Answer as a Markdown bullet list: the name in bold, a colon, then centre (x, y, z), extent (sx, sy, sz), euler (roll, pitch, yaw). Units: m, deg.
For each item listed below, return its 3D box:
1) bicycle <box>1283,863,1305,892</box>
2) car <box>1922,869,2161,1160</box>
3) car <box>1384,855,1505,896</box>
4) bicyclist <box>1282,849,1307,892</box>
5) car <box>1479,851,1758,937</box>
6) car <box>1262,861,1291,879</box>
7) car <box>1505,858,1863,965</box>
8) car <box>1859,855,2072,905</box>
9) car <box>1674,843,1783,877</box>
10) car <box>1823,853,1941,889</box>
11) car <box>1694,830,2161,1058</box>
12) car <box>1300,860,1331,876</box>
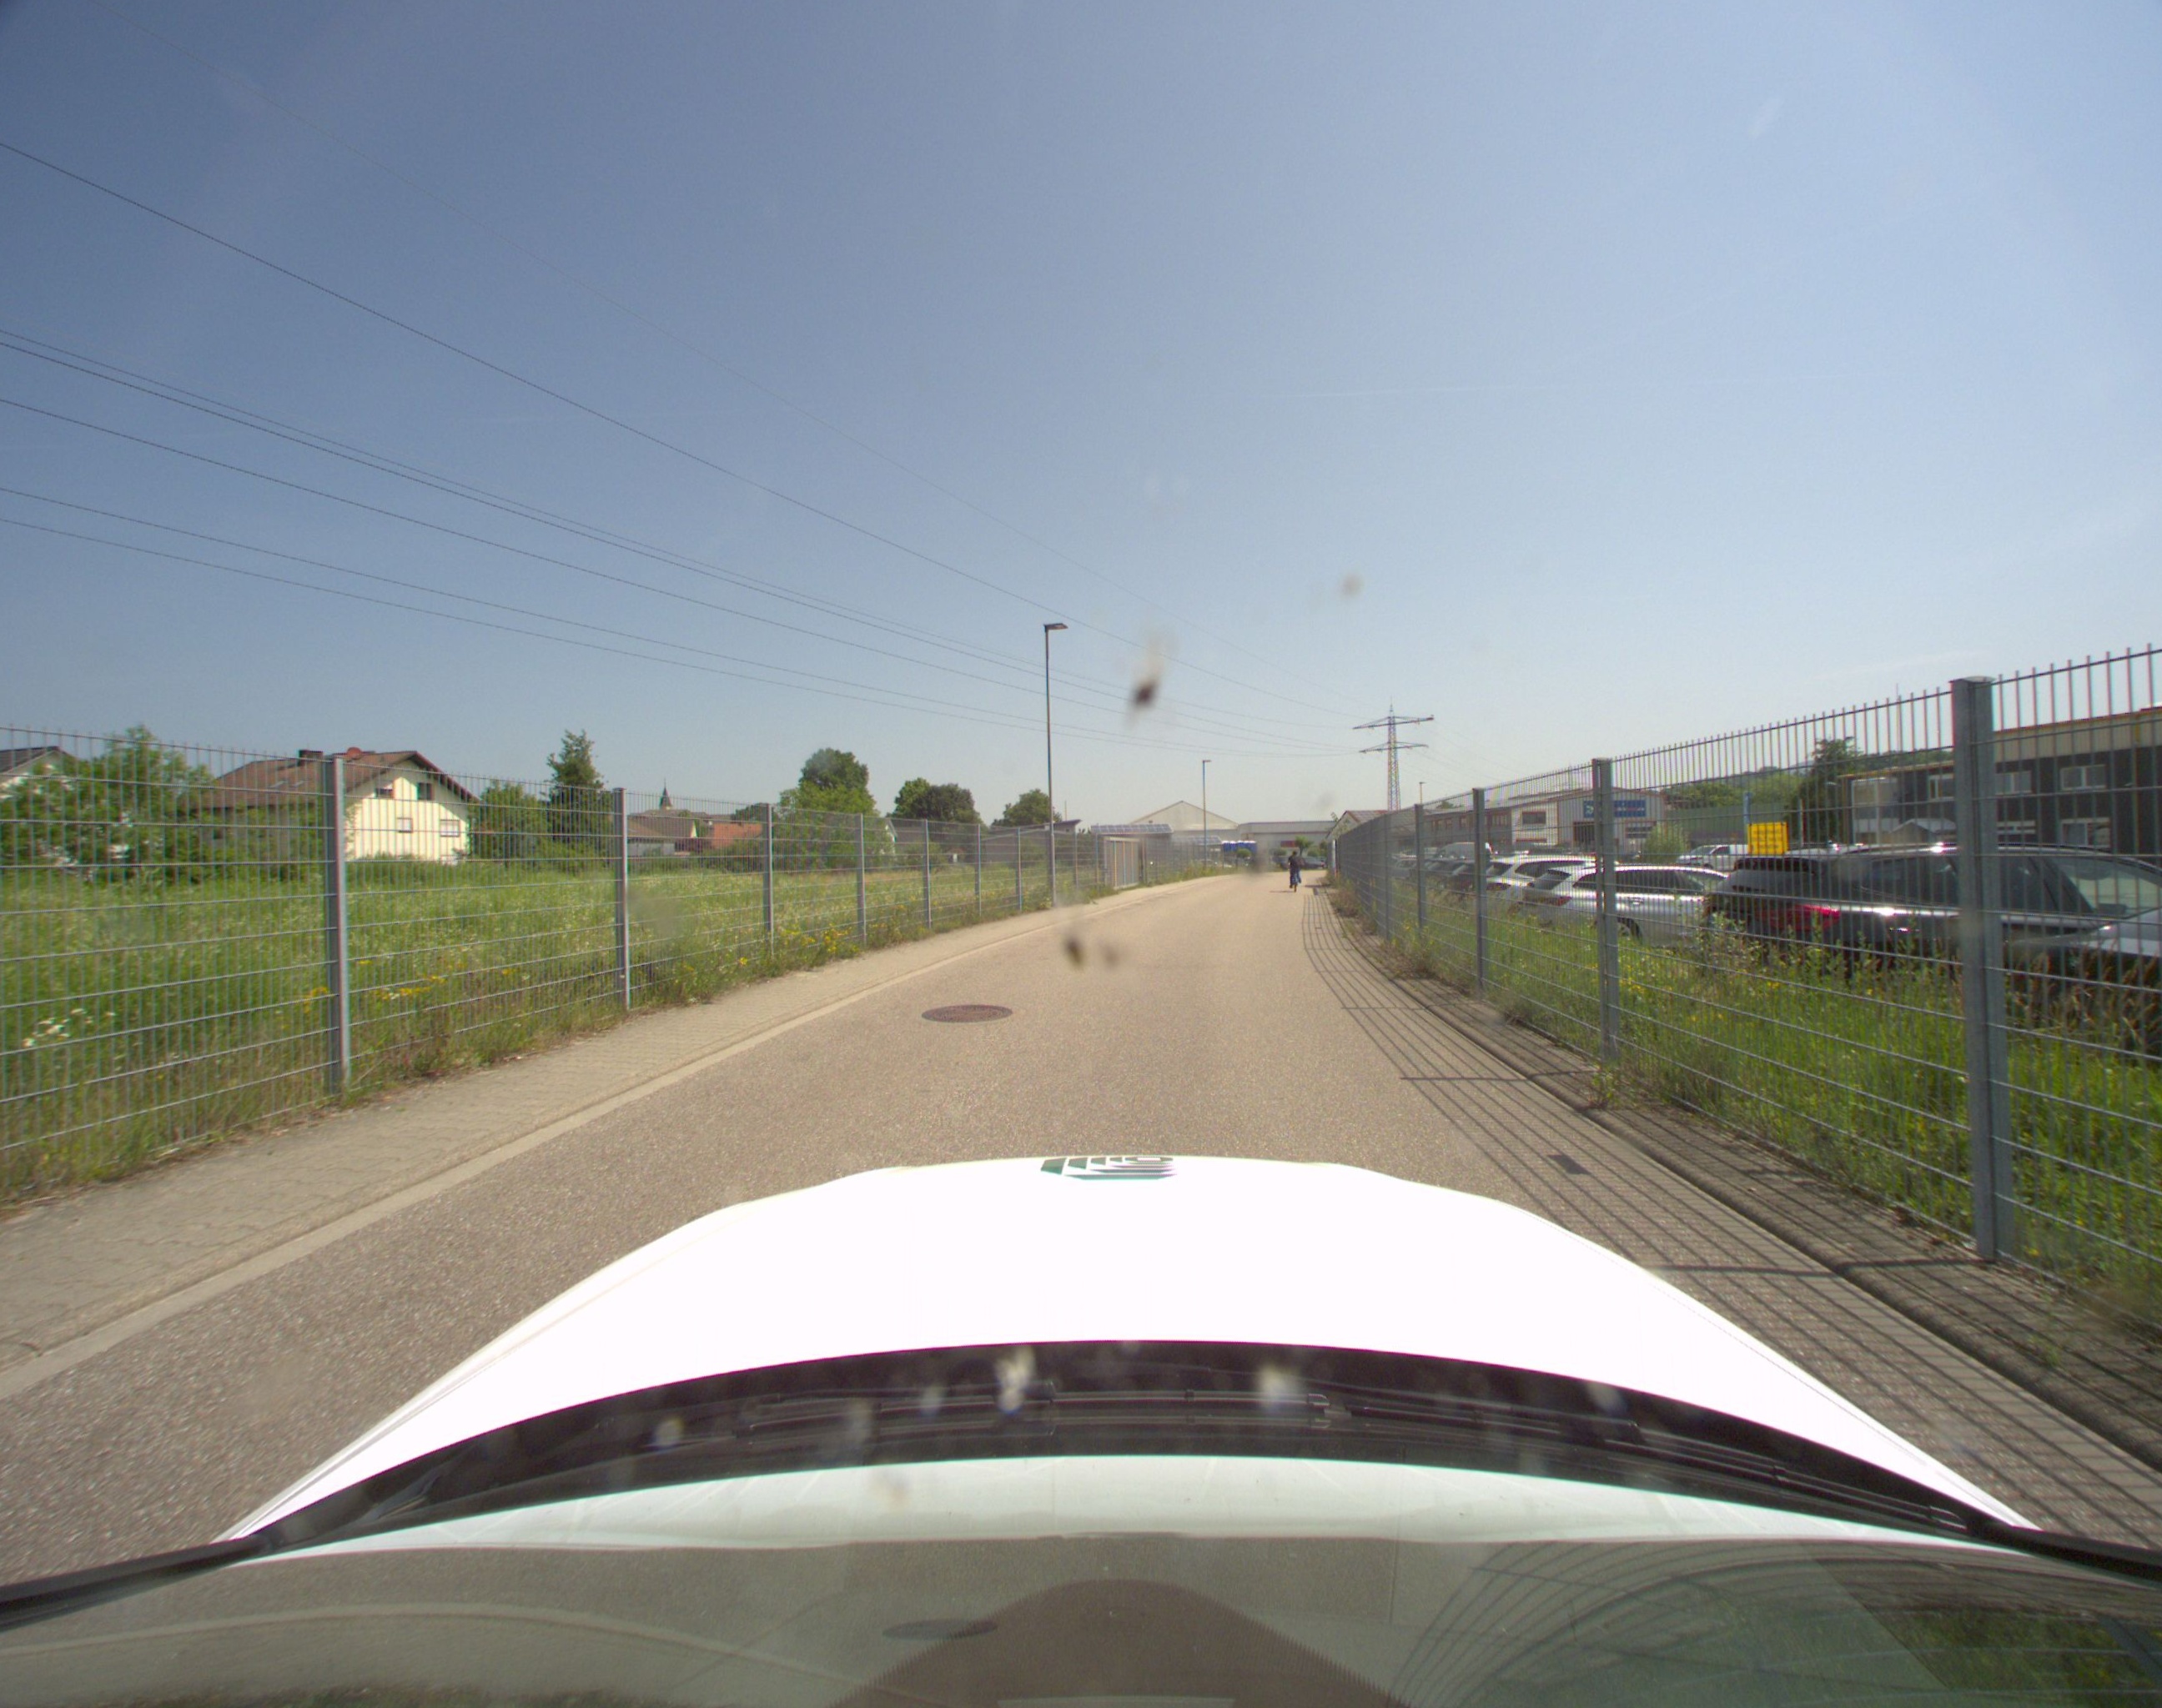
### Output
- **bicycle**: centre (8.341, 0.909, 31.884), extent (0.679, 1.051, 1.910), euler (0, 0, 19)
- **car**: centre (7.623, 0.773, 4.246), extent (4.252, 1.378, 1.771), euler (-2, 0, 11)
- **car**: centre (14.376, 0.813, 32.386), extent (4.136, 1.474, 1.643), euler (2, 0, 11)
- **bicyclist**: centre (8.349, 0.624, 31.835), extent (0.835, 1.618, 1.044), euler (0, 1, 19)
- **car**: centre (10.179, 0.707, 15.812), extent (4.176, 1.406, 1.847), euler (2, 0, 19)
- **car**: centre (19.584, 1.583, 81.606), extent (1.859, 1.644, 3.629), euler (-1, -1, -4)
- **car**: centre (9.291, 0.819, 12.952), extent (4.181, 1.406, 1.845), euler (2, 0, 13)
- **car**: centre (26.031, 0.746, 24.070), extent (4.493, 1.351, 1.627), euler (-1, 0, 0)
- **car**: centre (38.759, 0.352, 48.827), extent (5.042, 1.899, 1.858), euler (-1, 0, 0)
- **car**: centre (33.964, 0.717, 34.591), extent (3.647, 1.436, 1.534), euler (-1, 0, -3)
- **car**: centre (8.041, 0.663, 6.844), extent (4.246, 1.637, 1.773), euler (-2, 0, 18)
- **car**: centre (23.304, 1.386, 81.002), extent (1.859, 1.554, 3.765), euler (-1, -1, -4)
